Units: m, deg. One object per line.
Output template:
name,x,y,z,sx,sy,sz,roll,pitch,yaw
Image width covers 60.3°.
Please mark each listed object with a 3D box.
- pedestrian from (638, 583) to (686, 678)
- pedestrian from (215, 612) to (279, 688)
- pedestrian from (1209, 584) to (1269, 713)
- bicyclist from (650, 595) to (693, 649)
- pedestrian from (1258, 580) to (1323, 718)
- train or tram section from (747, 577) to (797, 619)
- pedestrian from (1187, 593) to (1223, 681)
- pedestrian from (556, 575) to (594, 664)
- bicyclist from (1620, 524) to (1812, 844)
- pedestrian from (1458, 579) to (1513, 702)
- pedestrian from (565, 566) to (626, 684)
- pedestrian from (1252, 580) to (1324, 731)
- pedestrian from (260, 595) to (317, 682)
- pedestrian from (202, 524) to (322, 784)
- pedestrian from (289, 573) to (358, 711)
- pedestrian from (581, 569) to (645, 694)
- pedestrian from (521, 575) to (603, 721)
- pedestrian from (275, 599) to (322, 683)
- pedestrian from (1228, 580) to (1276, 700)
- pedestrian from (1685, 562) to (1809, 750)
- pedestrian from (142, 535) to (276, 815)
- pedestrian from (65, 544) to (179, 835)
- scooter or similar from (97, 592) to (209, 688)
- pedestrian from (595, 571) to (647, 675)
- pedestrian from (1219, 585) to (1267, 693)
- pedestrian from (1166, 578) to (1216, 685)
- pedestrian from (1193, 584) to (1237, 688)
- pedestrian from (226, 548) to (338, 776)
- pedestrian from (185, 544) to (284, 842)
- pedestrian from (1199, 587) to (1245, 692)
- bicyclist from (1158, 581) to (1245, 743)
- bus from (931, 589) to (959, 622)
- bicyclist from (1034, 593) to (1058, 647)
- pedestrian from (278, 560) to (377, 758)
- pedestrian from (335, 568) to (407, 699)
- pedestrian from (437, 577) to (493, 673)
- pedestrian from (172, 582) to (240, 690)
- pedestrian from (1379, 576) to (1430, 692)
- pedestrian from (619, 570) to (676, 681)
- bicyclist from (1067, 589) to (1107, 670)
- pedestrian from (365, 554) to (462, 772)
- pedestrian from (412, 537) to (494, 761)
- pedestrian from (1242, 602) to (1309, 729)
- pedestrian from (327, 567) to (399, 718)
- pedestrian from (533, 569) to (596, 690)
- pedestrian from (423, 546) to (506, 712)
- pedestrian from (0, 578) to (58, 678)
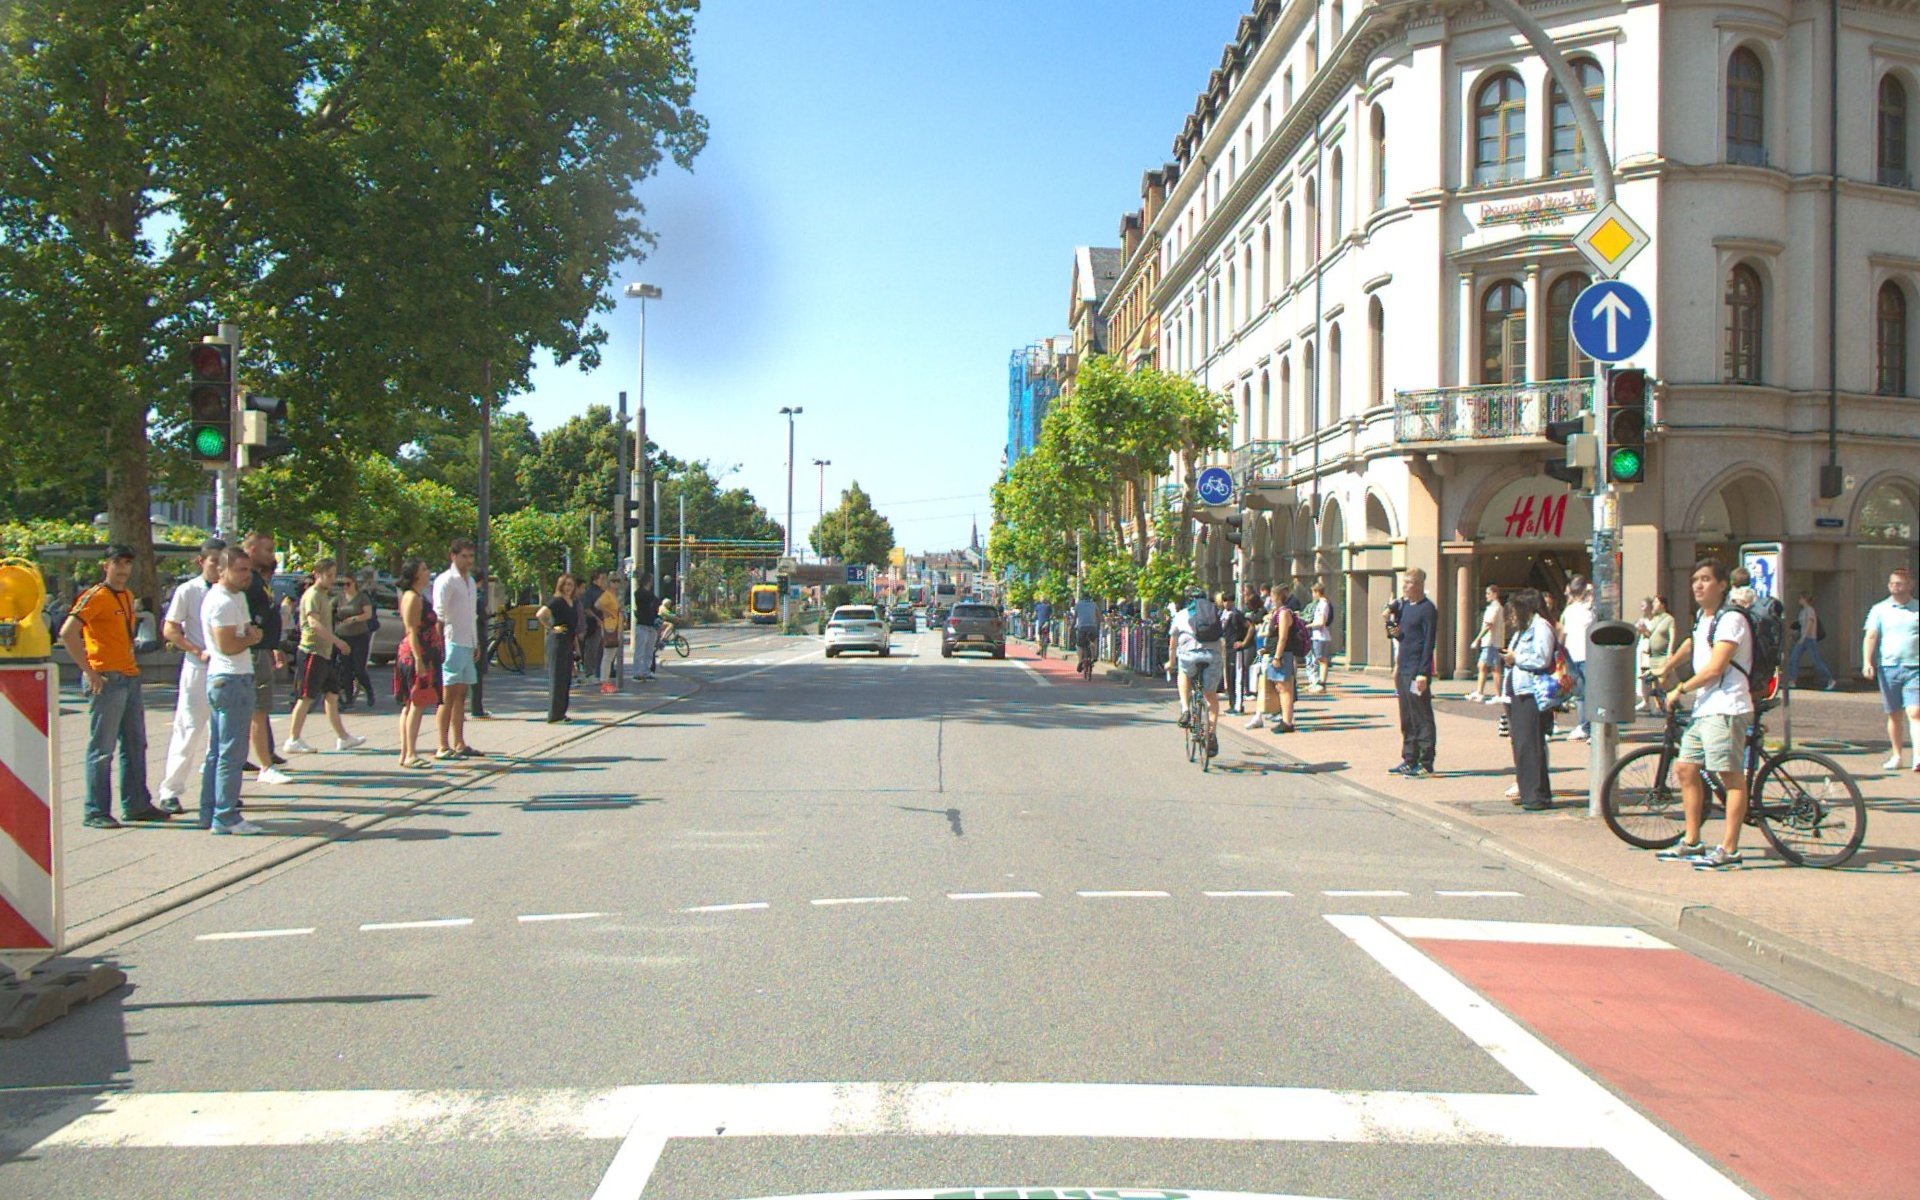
pedestrian,-5.390,0.546,29.924,0.605,1.697,0.591,0,-1,28
pedestrian,-11.037,0.766,25.612,0.619,1.164,0.665,0,-1,20
pedestrian,3.960,0.686,23.510,0.598,1.770,0.677,-4,-1,-3
bicyclist,-8.329,0.635,47.669,1.036,1.529,0.734,1,0,-28
pedestrian,4.414,0.648,22.137,0.598,1.790,0.677,-4,-1,-3
train or tram section,-16.194,-0.179,142.939,2.558,3.407,11.005,1,0,3
pedestrian,4.687,0.698,31.592,0.519,1.622,0.611,0,2,26
pedestrian,-7.726,0.391,33.196,0.598,1.755,0.677,1,-1,-3
bicyclist,4.544,0.479,9.963,0.569,1.828,0.846,-2,0,-35
pedestrian,7.990,0.606,25.171,0.598,1.838,0.677,1,-1,-3
pedestrian,-5.949,0.401,27.011,0.620,1.891,0.730,0,-1,28
pedestrian,4.008,0.669,20.244,0.658,1.800,0.677,-2,-1,-3
pedestrian,-11.186,0.638,27.556,0.717,1.410,0.664,1,-1,-8
pedestrian,-5.339,0.407,12.688,0.564,1.924,0.653,2,-1,1
pedestrian,-8.249,0.535,21.448,0.564,1.741,0.606,2,-1,3
pedestrian,-5.190,0.464,24.751,0.619,1.825,0.731,0,-1,20
pedestrian,-4.522,0.532,18.817,0.619,1.623,0.686,0,-1,20
pedestrian,-11.321,0.697,28.309,0.651,1.410,0.659,1,-1,-29
pedestrian,4.570,0.620,25.919,0.598,1.855,0.677,1,-1,-3
pedestrian,7.940,0.567,16.740,0.644,1.821,1.232,1,-2,-1
pedestrian,-5.050,0.493,11.145,0.528,1.811,0.606,2,-1,5
pedestrian,-5.251,0.543,10.362,0.534,1.748,0.599,2,-1,-32
scooter or similar,-12.536,0.611,25.697,1.252,1.445,1.037,0,-1,30
pedestrian,-6.103,0.410,29.769,0.605,1.855,0.662,0,-1,28
pedestrian,4.554,0.625,26.668,0.571,1.703,0.605,-2,-1,-3
pedestrian,4.290,0.582,30.692,0.674,1.931,0.611,-3,-1,26
pedestrian,4.355,0.616,28.271,0.571,1.729,0.605,-2,-1,-3
pedestrian,-5.462,0.488,13.356,0.564,1.778,0.653,2,-1,1
pedestrian,-4.481,0.553,10.202,0.425,1.770,0.600,2,-1,-32
pedestrian,4.373,0.655,27.597,0.571,1.703,0.605,-2,-1,-3
bicyclist,2.344,0.579,16.184,0.617,1.507,1.198,1,0,-2
bus,-1.792,0.644,187.606,2.934,3.657,11.740,1,-1,-2
bicyclist,2.539,0.576,49.072,0.634,1.578,0.817,1,0,-1
pedestrian,-5.756,0.517,15.087,0.572,1.752,0.789,1,0,1
pedestrian,-8.412,0.468,23.640,0.619,1.842,0.731,0,-1,20
pedestrian,-9.426,0.470,31.510,0.665,1.795,0.765,0,-1,28
pedestrian,-11.373,0.534,24.962,0.619,1.593,0.665,0,-1,20
pedestrian,7.198,0.550,26.801,0.598,1.855,0.677,1,-1,-3
pedestrian,-5.352,0.433,28.310,0.620,1.866,0.730,0,-1,28
bicyclist,2.635,0.605,34.311,0.758,1.664,0.851,0,0,-1
pedestrian,-4.598,0.523,13.939,0.564,1.789,0.638,1,-1,1
pedestrian,-4.529,0.432,14.798,0.521,1.953,0.560,1,-1,1
pedestrian,3.987,0.818,20.945,0.598,1.541,0.677,-4,-1,-3
pedestrian,-7.331,0.521,20.328,0.564,1.811,0.606,2,-1,5
pedestrian,-6.294,0.463,26.346,0.620,1.891,0.730,0,-1,28
pedestrian,-5.767,0.328,19.268,0.619,1.891,0.686,0,-1,20
pedestrian,-14.363,0.418,25.322,0.619,1.504,0.731,0,-1,20
